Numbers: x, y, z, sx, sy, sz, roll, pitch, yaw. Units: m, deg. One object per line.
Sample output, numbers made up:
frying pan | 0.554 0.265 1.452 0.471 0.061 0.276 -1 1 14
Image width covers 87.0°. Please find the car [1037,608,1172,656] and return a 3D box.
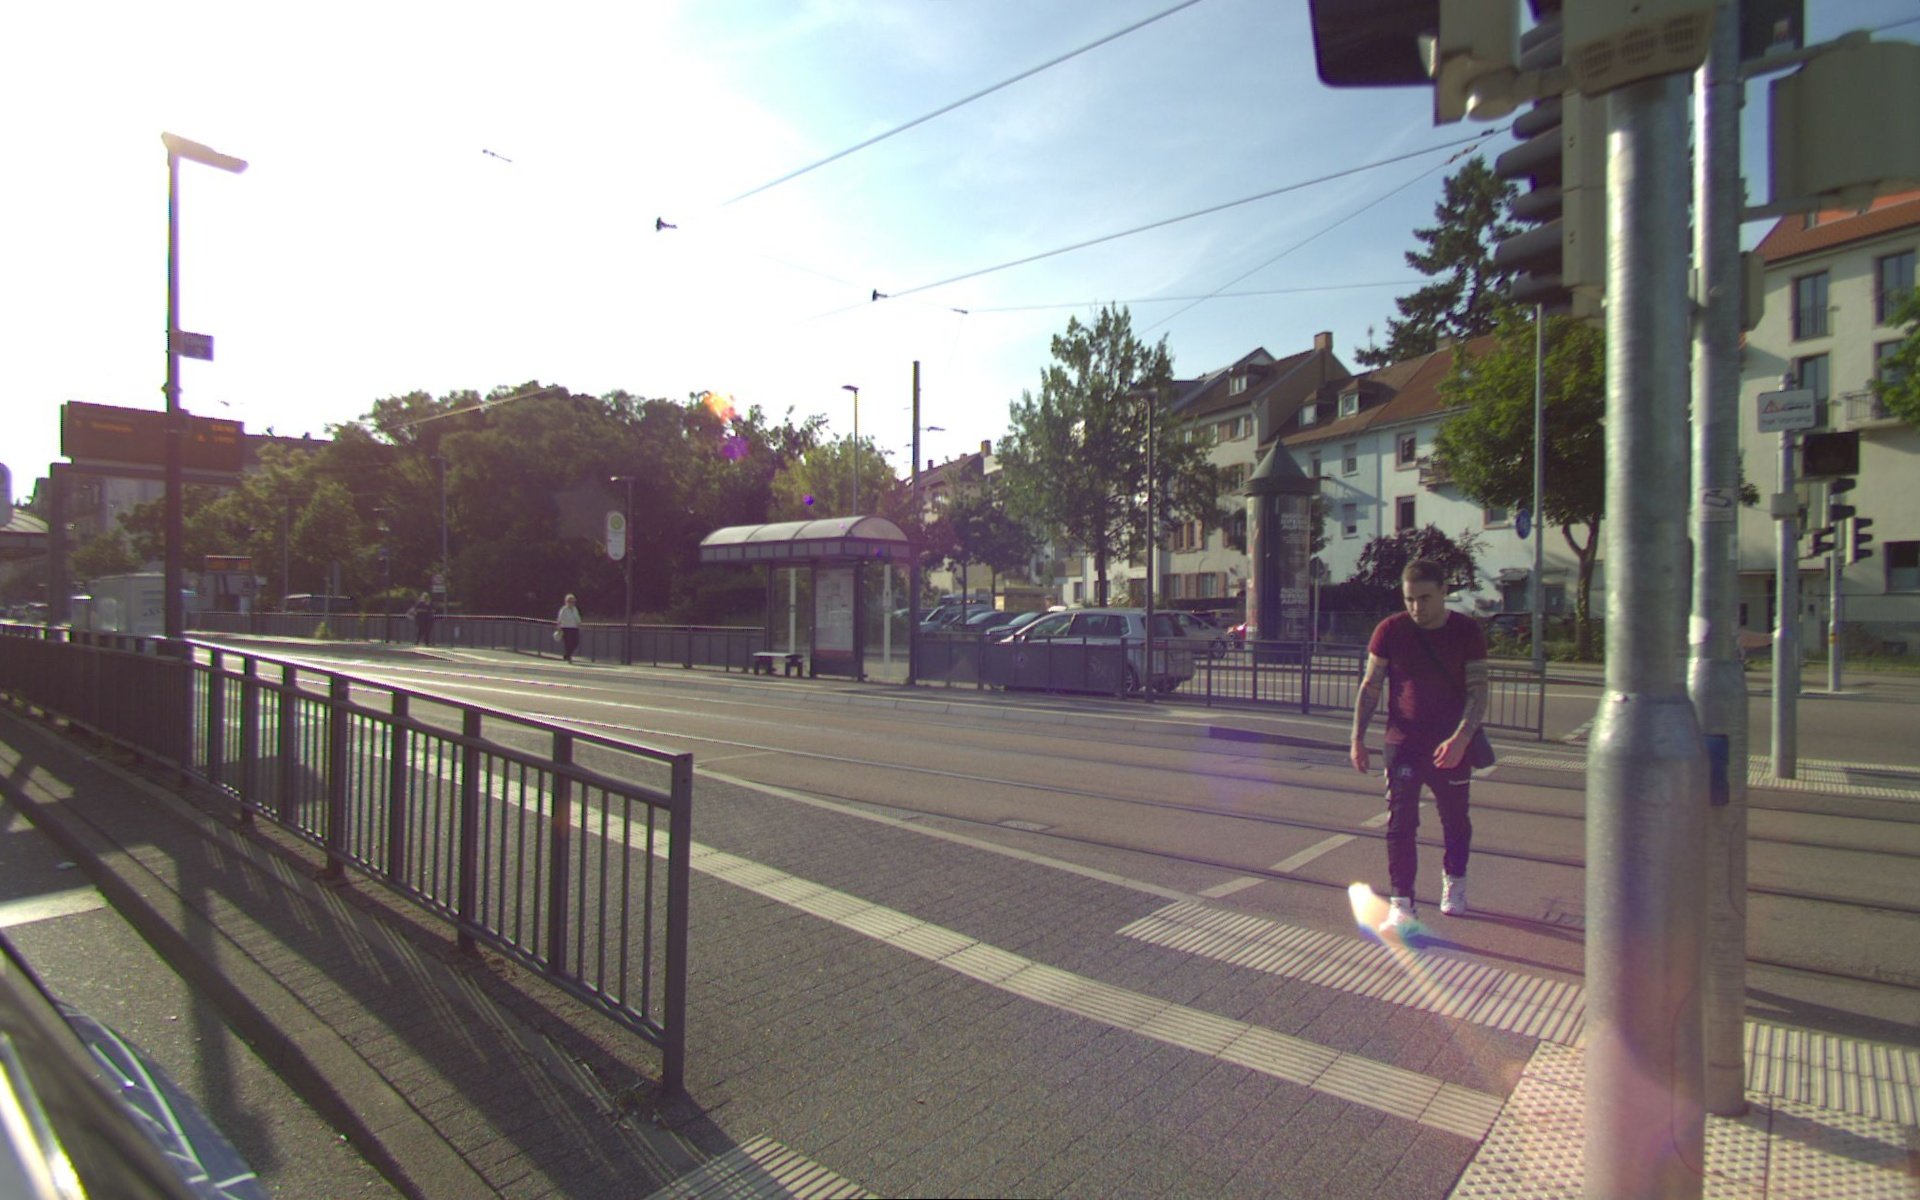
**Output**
car | 4.584 0.977 32.029 3.931 1.439 1.778 1 -1 -28

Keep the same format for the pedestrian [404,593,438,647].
pedestrian | -16.713 0.612 31.396 0.689 1.640 0.727 -1 -1 41

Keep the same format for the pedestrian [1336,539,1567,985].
pedestrian | 2.136 0.618 4.380 0.672 1.683 0.871 -1 -1 43

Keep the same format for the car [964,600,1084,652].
car | 2.322 0.908 36.413 3.932 1.767 1.860 1 -1 -31

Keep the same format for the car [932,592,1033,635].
car | 0.972 0.571 43.530 3.932 1.767 1.860 1 -1 -31

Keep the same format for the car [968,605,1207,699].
car | 2.255 0.922 18.586 4.121 1.537 1.659 -2 -2 40

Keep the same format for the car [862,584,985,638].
car | -1.932 0.585 54.728 6.488 2.830 1.778 0 -1 -28

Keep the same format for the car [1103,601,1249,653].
car | 6.310 0.770 29.491 3.931 1.439 1.778 1 -1 -28

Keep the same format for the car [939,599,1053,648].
car | 1.391 0.866 38.325 3.932 1.767 1.860 1 -1 -31

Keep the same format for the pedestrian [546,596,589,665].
pedestrian | -9.409 0.721 24.277 0.727 1.640 0.699 -1 -1 41

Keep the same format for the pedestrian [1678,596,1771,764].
pedestrian | 7.617 0.768 10.104 0.714 1.601 0.584 0 -1 37

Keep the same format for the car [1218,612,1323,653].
car | 11.619 1.190 38.125 1.523 1.437 3.877 0 -1 -26

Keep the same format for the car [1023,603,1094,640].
car | 5.058 1.115 52.508 1.786 1.813 4.013 1 -1 -26

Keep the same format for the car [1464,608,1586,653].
car | 20.498 1.077 36.692 3.930 1.570 1.862 1 -1 -24

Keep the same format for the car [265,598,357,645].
car | -29.812 0.949 46.435 5.384 2.029 2.123 0 -1 41

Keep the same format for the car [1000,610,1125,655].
car | 3.503 1.076 34.462 3.931 1.439 1.778 1 -1 -28
